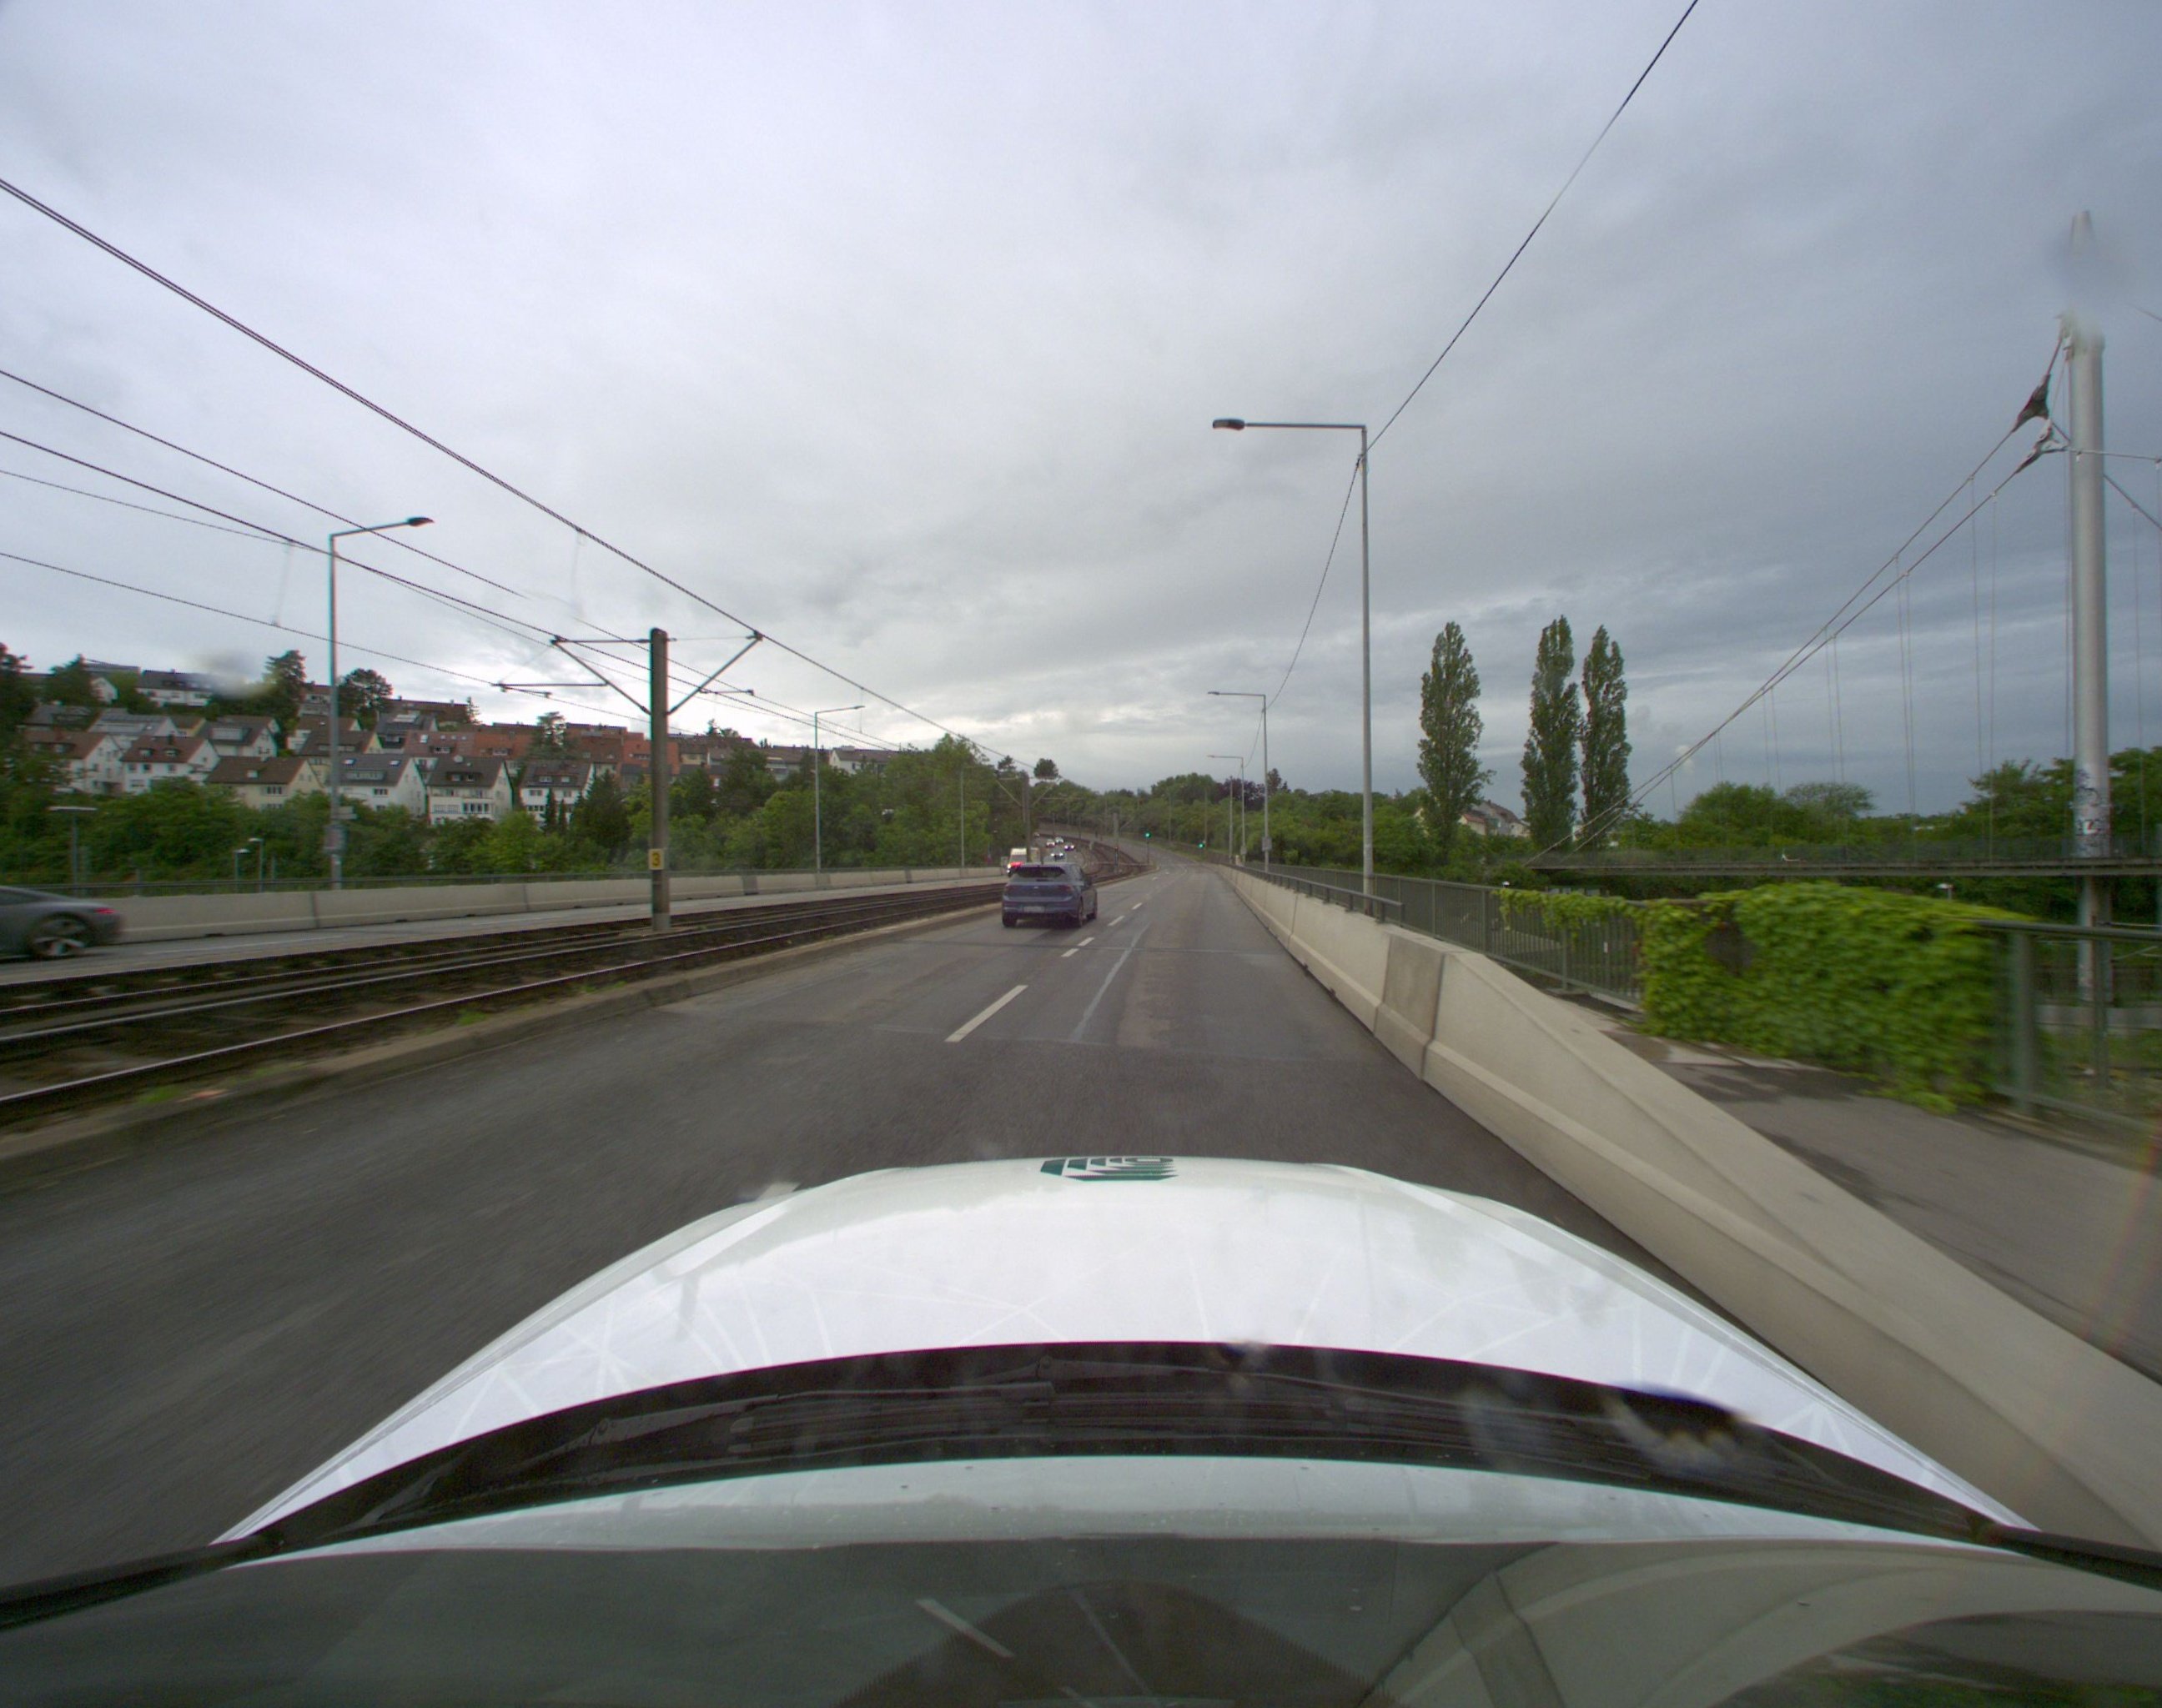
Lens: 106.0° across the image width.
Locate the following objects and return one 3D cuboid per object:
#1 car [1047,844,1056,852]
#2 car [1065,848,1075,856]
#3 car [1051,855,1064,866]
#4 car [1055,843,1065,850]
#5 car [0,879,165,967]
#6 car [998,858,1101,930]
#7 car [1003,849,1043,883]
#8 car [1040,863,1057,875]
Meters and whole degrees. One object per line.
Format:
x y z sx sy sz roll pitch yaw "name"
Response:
-6.146 -1.199 169.670 1.817 1.515 4.524 -1 -1 -3 "car"
-2.056 -0.392 156.067 1.598 1.493 3.012 -2 0 -6 "car"
-3.882 1.122 136.174 1.965 1.597 5.176 -1 -2 -4 "car"
-4.649 -1.655 181.069 1.729 1.437 4.478 -1 -2 -8 "car"
-17.393 1.076 12.174 1.826 1.314 4.629 -2 -1 8 "car"
-0.626 0.887 19.368 1.753 1.501 4.009 0 -1 8 "car"
-5.378 1.124 76.114 2.376 3.116 6.371 0 -1 8 "car"
-4.501 2.038 114.239 1.888 1.597 4.736 -2 0 3 "car"
